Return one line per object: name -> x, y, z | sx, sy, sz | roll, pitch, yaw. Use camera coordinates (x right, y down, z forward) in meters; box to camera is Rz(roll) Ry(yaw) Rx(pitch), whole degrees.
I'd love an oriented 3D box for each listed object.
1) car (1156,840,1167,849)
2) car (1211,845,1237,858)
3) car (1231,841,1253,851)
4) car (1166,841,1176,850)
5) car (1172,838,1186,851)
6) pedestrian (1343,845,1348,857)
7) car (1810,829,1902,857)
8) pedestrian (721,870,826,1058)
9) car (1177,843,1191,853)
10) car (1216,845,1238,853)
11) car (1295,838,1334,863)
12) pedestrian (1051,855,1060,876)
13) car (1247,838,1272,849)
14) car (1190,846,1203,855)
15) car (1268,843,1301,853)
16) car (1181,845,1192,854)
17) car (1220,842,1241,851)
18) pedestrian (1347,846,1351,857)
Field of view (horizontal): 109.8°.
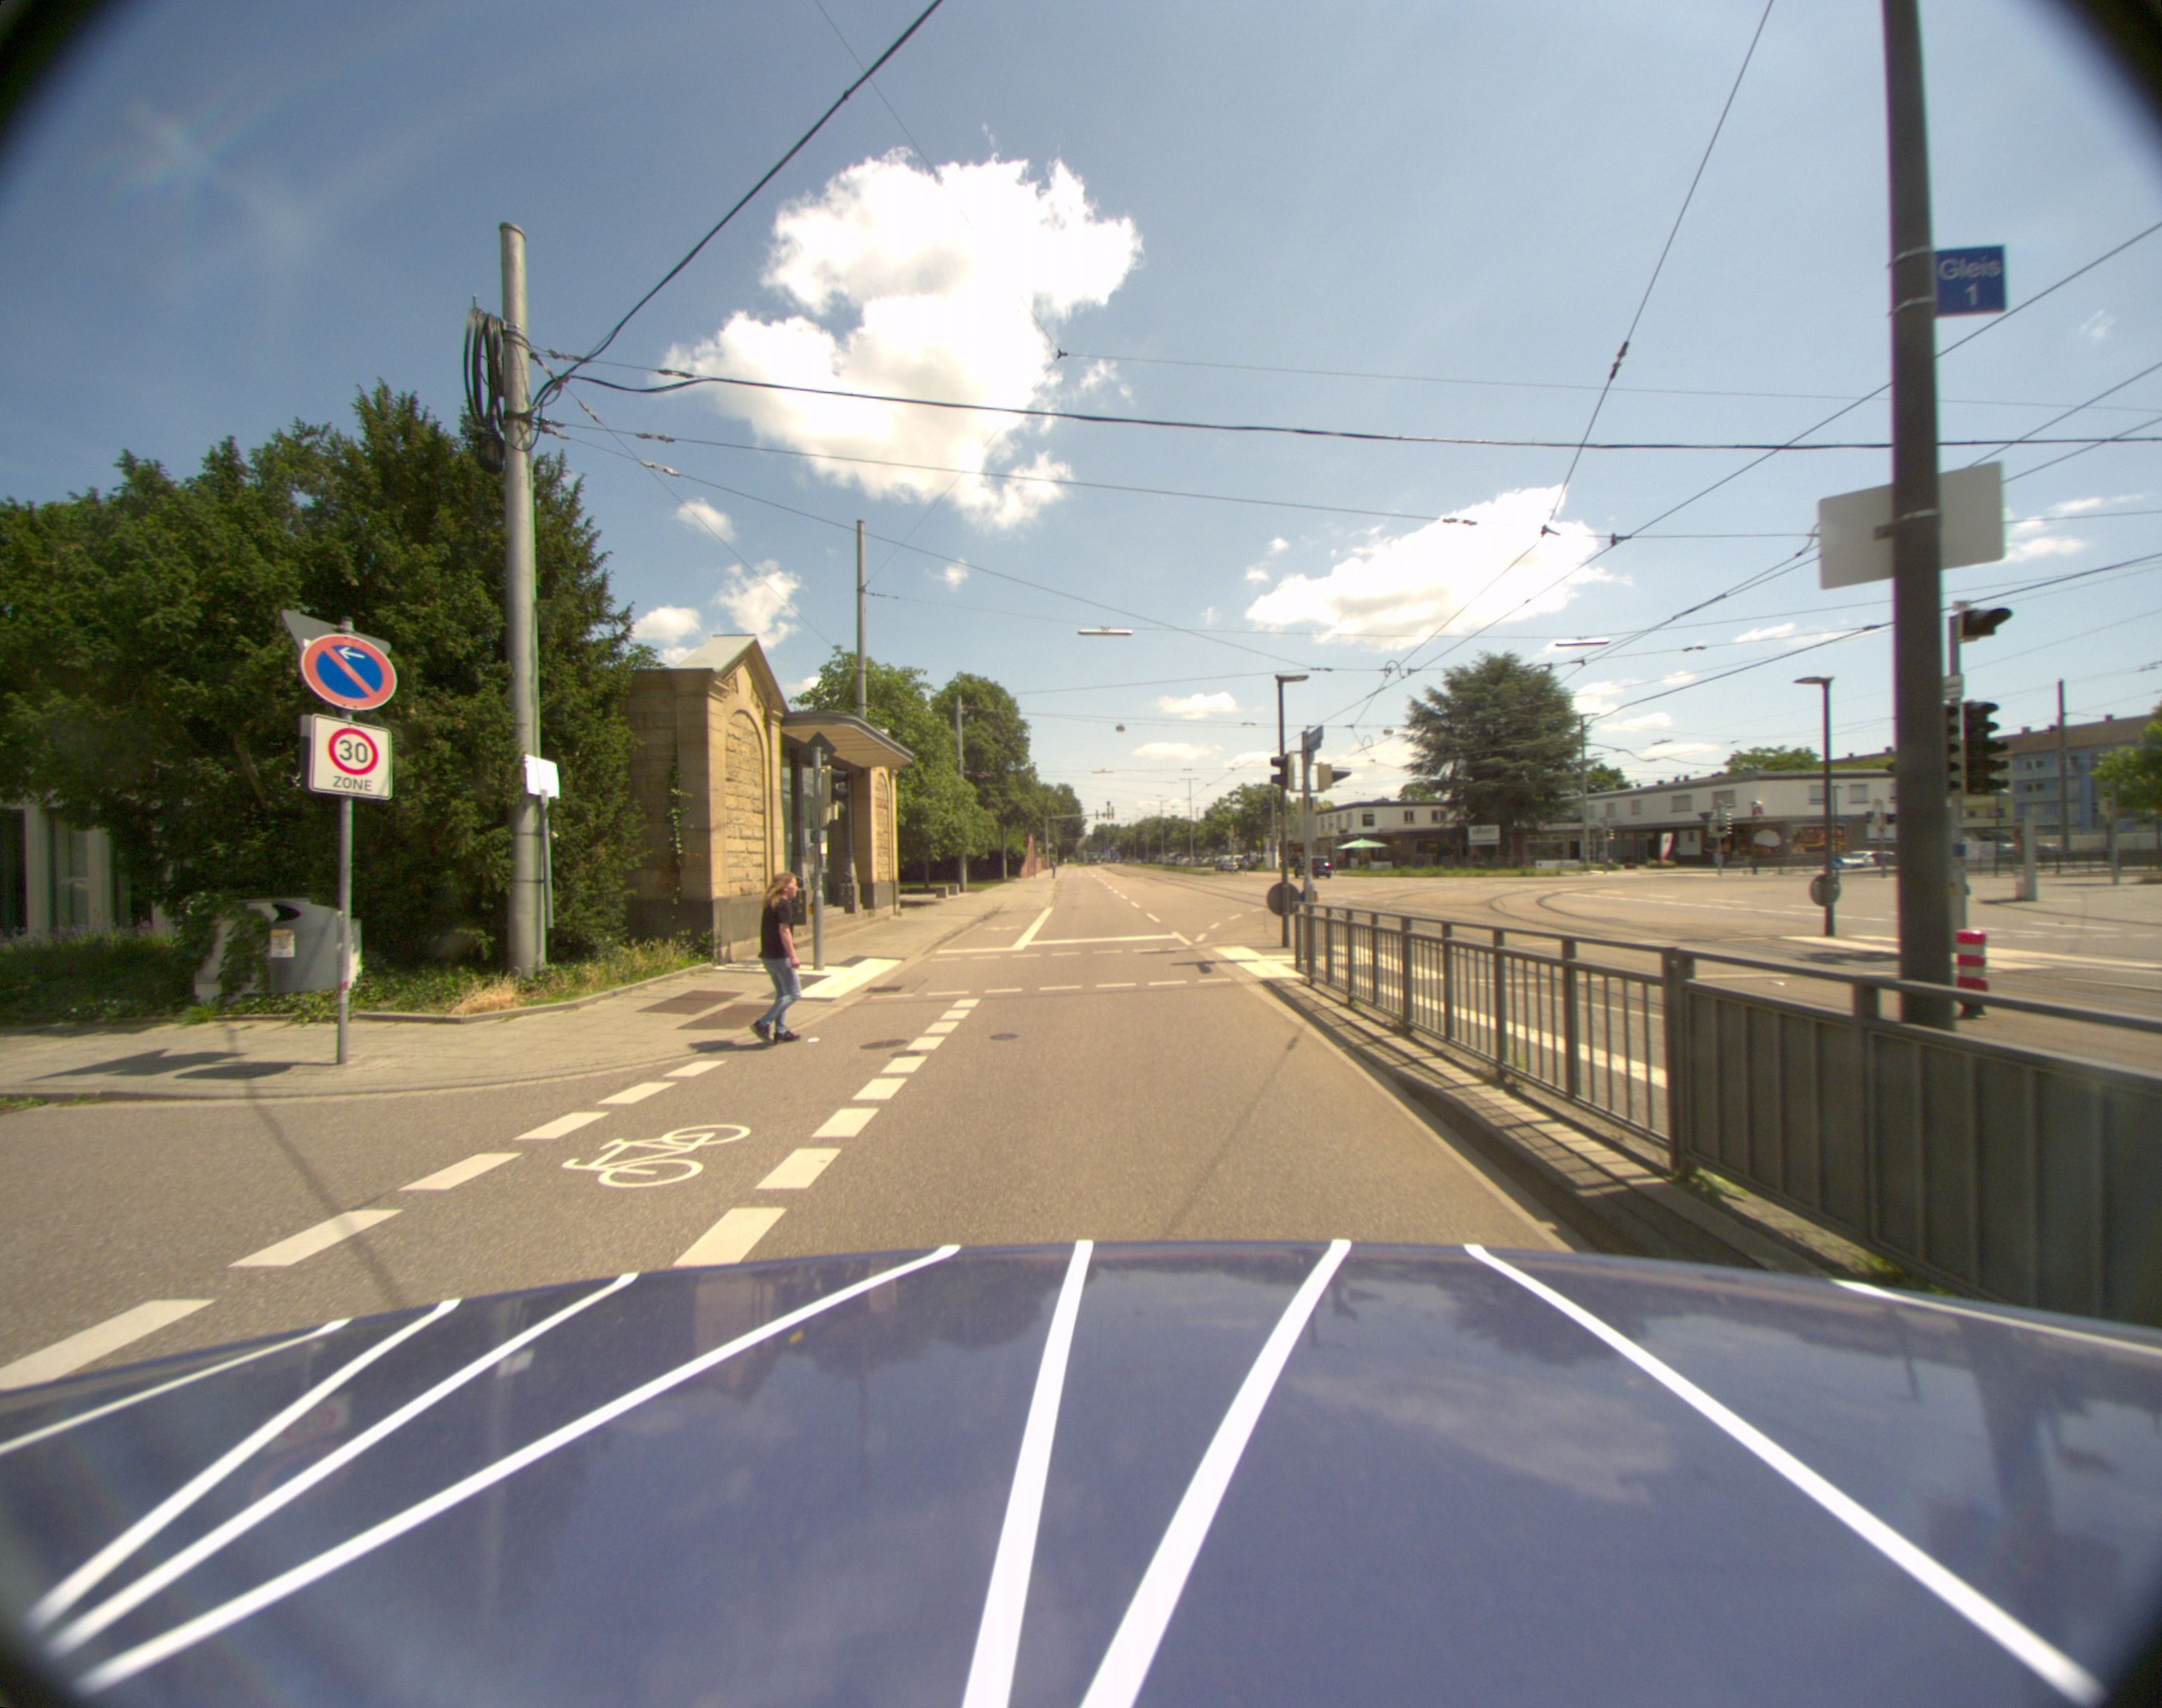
car -> 20.233, -2.429, 190.207 | 2.072, 2.089, 4.487 | -3, 1, -2
car -> 16.081, -0.302, 85.523 | 1.999, 1.463, 4.400 | -1, 0, -1
car -> 31.256, -1.532, 147.553 | 3.997, 1.726, 1.902 | -1, 1, 1
car -> 20.318, -2.035, 171.809 | 1.794, 1.928, 4.648 | -3, 1, 0
car -> 19.992, -1.898, 154.975 | 2.156, 2.597, 5.032 | -3, 1, 0
pedestrian -> 29.368, -0.319, 84.341 | 0.354, 1.261, 0.533 | -1, 1, 1
car -> 49.384, -0.694, 48.499 | 3.850, 1.715, 1.899 | 1, 1, 1
pedestrian -> -2.716, 0.935, 6.780 | 0.578, 1.547, 0.786 | 1, 2, 3
car -> 20.174, -1.193, 148.971 | 2.156, 1.827, 4.887 | -3, 1, 0
car -> 30.978, -1.018, 161.436 | 4.199, 1.726, 1.803 | 1, 1, 1
car -> 17.037, -0.252, 55.663 | 1.727, 1.673, 4.280 | -1, 0, 3
pedestrian -> -2.230, 1.031, 67.426 | 0.767, 1.841, 0.717 | -1, 1, -3
car -> 44.491, -2.630, 189.840 | 5.698, 2.467, 2.259 | -1, 1, -3
car -> 20.139, -0.592, 132.556 | 1.580, 1.531, 4.550 | -3, 1, 1
car -> 31.161, -0.846, 116.303 | 4.484, 1.426, 1.907 | -1, 0, 3
car -> 19.752, -0.854, 142.359 | 1.503, 1.531, 4.358 | -3, 1, 1
car -> 30.135, -1.587, 153.097 | 3.997, 1.726, 1.803 | 1, 1, 1
pedestrian -> 29.316, -0.291, 83.087 | 0.345, 1.261, 0.528 | -1, 1, 3
